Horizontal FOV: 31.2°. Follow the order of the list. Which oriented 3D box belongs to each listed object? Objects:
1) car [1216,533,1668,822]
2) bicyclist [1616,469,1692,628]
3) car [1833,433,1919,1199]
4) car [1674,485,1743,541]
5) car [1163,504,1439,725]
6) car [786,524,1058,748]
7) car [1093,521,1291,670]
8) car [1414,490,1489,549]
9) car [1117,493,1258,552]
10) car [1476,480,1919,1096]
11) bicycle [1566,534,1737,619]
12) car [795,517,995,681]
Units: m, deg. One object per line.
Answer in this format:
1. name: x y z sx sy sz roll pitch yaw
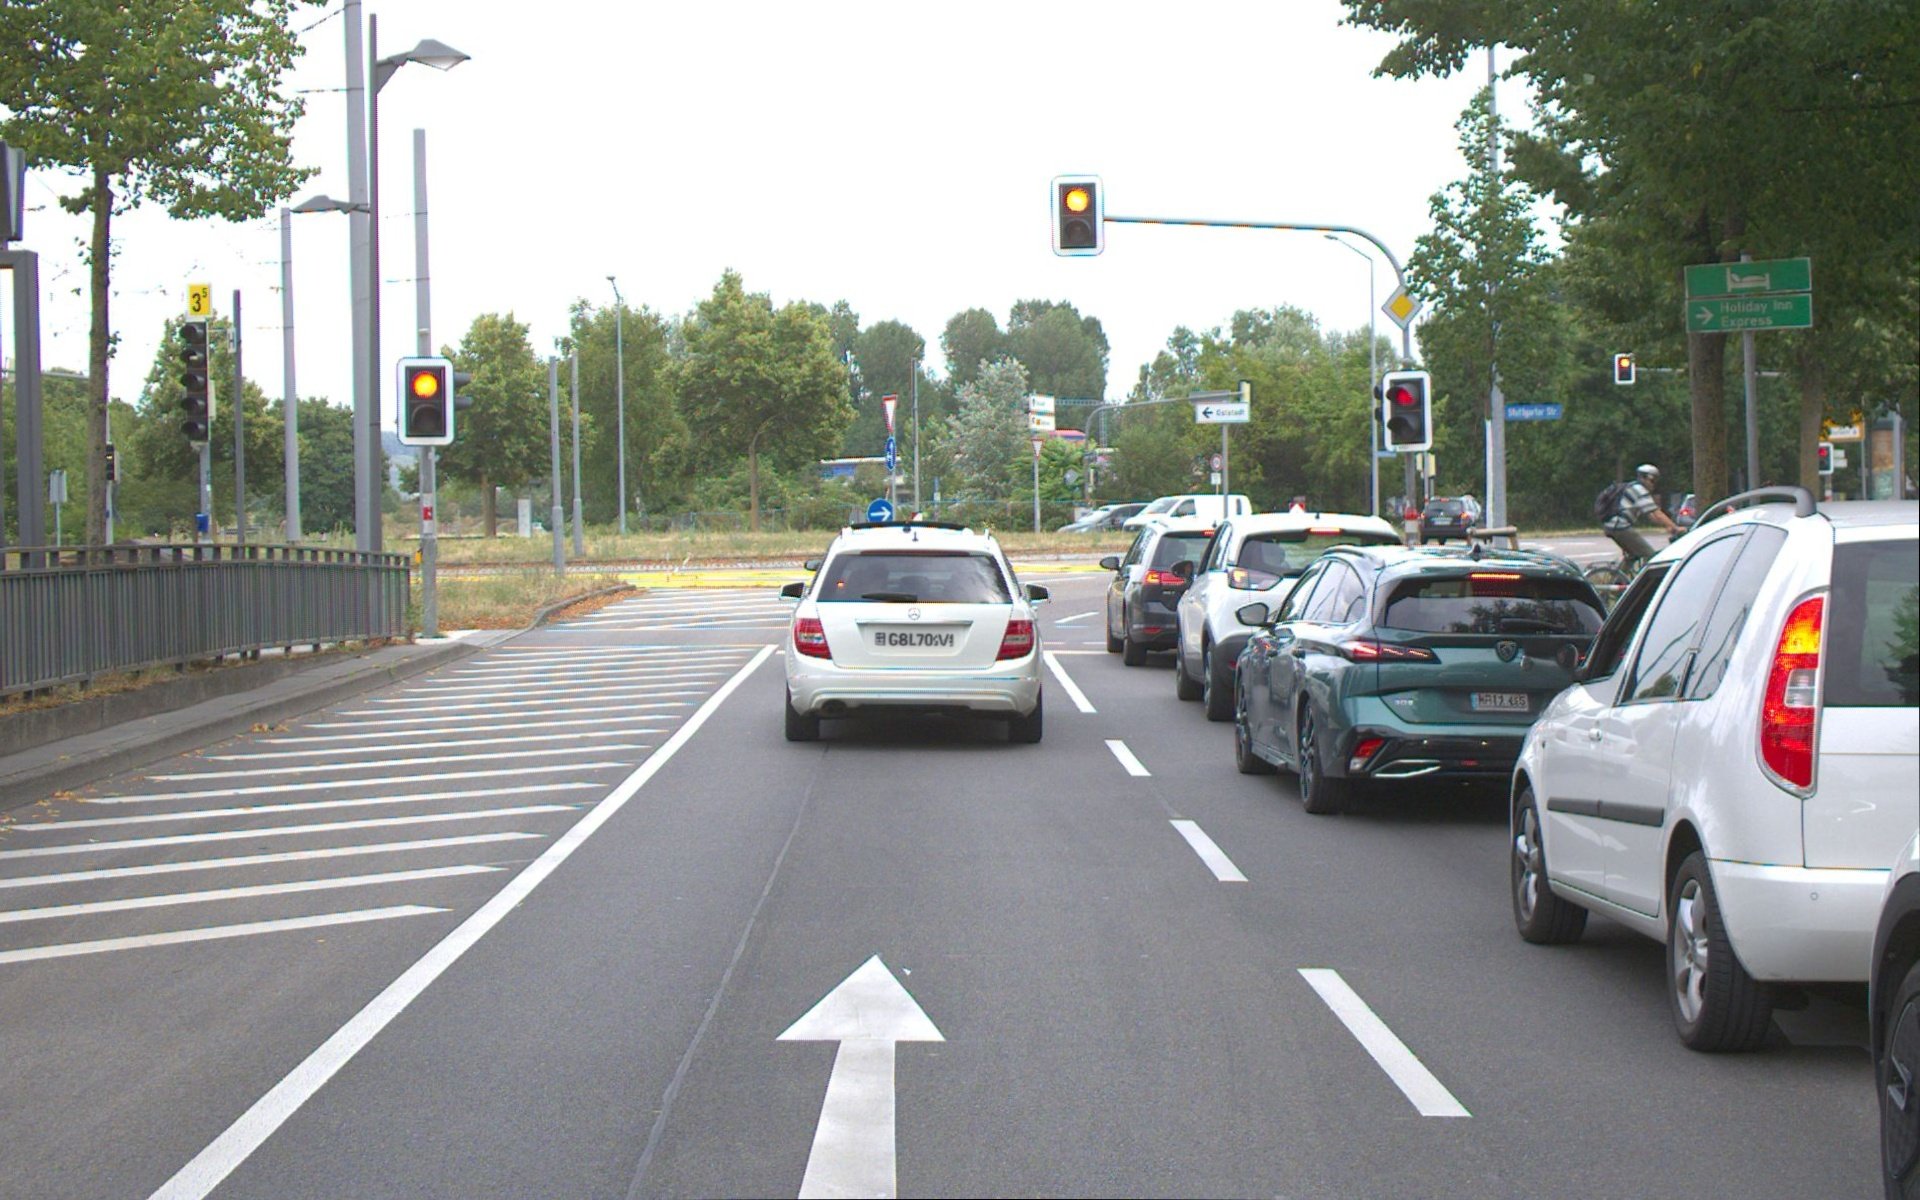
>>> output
1. car: 2.604 0.350 19.565 1.787 1.427 4.311 0 1 -2
2. bicyclist: 8.348 -0.624 41.362 0.728 1.879 0.734 -1 1 -2
3. car: 2.732 0.558 5.147 1.779 1.651 4.024 1 2 0
4. car: 22.423 -2.604 103.124 1.784 1.630 4.400 -1 1 9
5. car: 2.654 0.058 27.553 1.787 1.619 3.911 -1 1 0
6. car: -0.322 0.196 24.441 1.773 1.443 3.911 0 1 -2
7. car: 2.340 -0.089 35.511 1.624 1.443 3.911 0 1 -2
8. car: 15.538 -2.549 108.875 1.994 1.784 4.000 1 1 3
9. car: 8.143 -2.764 122.715 4.985 2.006 1.999 -2 2 -39
10. car: 2.902 0.445 11.271 1.779 1.651 4.024 -1 1 0
11. bicycle: 8.315 -0.283 41.385 1.933 0.980 0.565 -1 2 -1
12. car: -0.652 -0.054 32.614 1.773 1.443 3.911 0 1 -2
